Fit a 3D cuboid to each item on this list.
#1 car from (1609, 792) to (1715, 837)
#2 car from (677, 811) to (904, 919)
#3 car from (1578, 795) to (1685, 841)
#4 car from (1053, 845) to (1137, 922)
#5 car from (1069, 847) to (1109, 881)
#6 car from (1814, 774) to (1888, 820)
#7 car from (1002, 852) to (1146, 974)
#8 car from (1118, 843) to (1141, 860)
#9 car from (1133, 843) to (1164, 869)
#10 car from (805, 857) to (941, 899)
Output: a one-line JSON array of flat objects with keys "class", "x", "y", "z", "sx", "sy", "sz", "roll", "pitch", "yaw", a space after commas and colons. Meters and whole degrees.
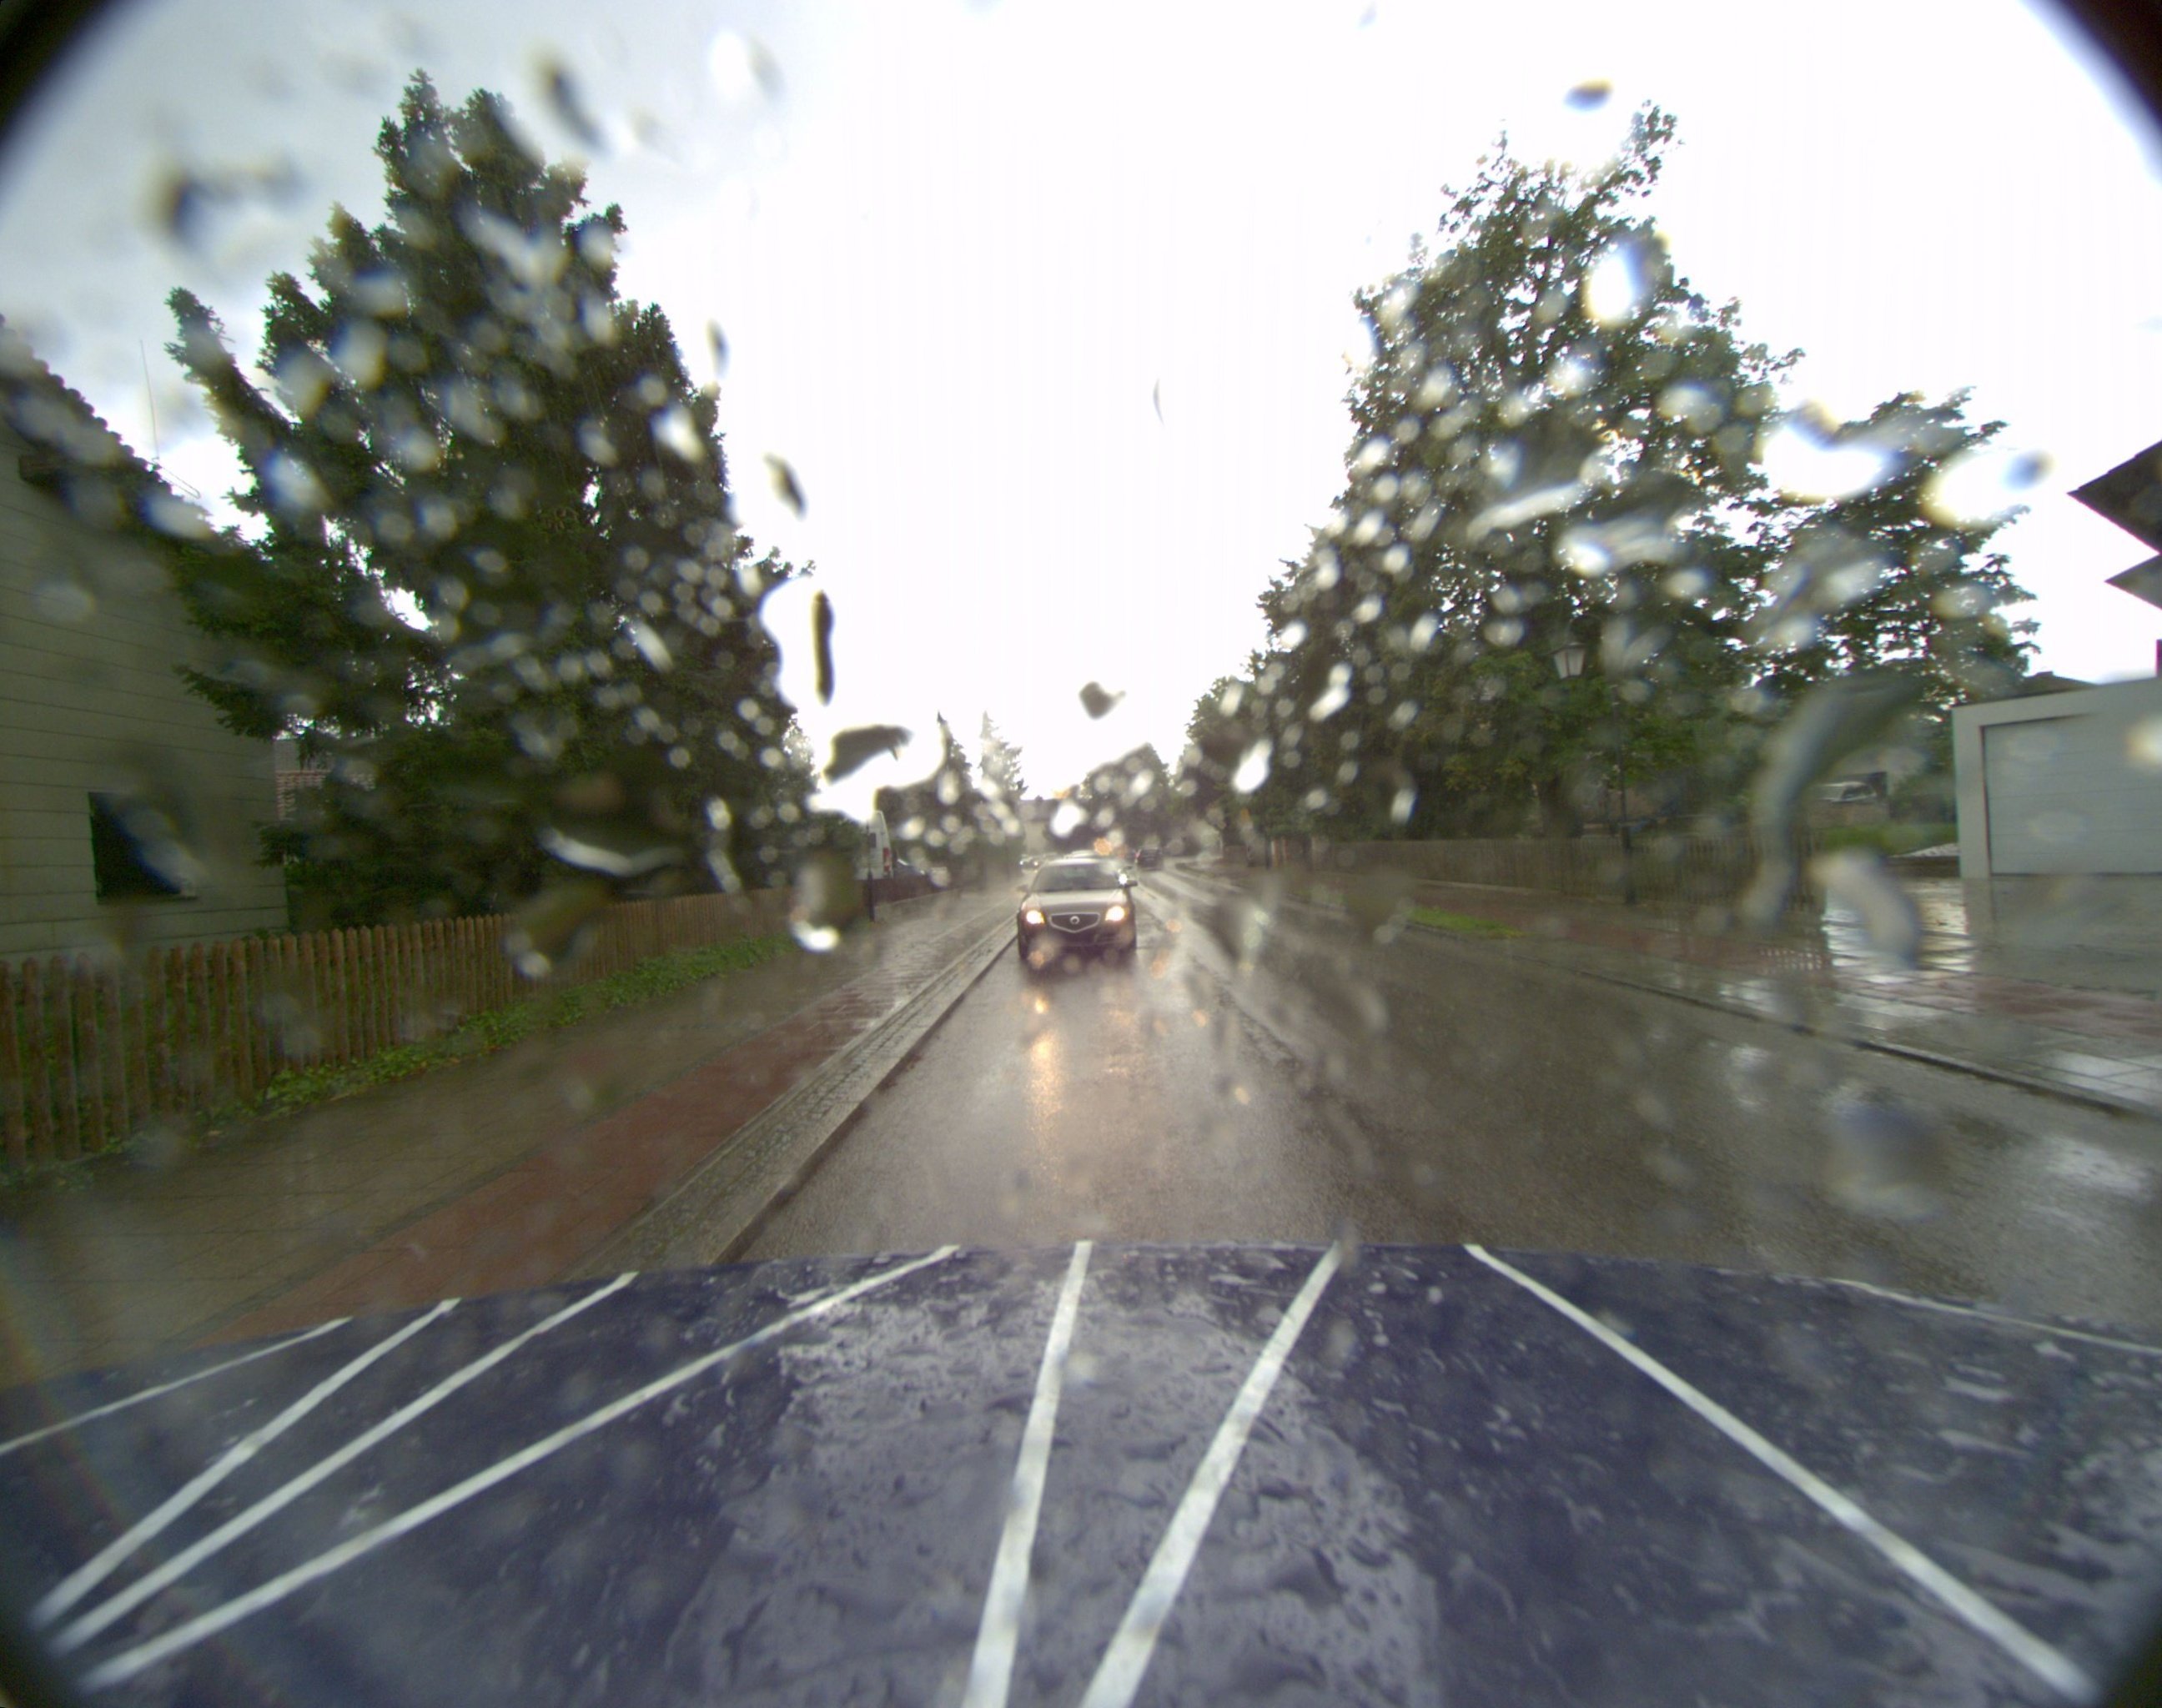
[{"class": "car", "x": 28.716, "y": -1.935, "z": 37.616, "sx": 1.845, "sy": 1.792, "sz": 3.649, "roll": -6, "pitch": 0, "yaw": -33}, {"class": "car", "x": -7.552, "y": 0.252, "z": 20.322, "sx": 5.321, "sy": 2.712, "sz": 1.998, "roll": 0, "pitch": 1, "yaw": -8}, {"class": "car", "x": 26.373, "y": -1.702, "z": 36.499, "sx": 1.845, "sy": 1.792, "sz": 3.649, "roll": -6, "pitch": 0, "yaw": -33}, {"class": "car", "x": 0.374, "y": 0.676, "z": 20.564, "sx": 1.872, "sy": 1.603, "sz": 4.960, "roll": -5, "pitch": 1, "yaw": 1}, {"class": "car", "x": 0.434, "y": 0.478, "z": 39.785, "sx": 1.872, "sy": 1.512, "sz": 4.960, "roll": -5, "pitch": 1, "yaw": 1}, {"class": "car", "x": 40.848, "y": -3.009, "z": 40.290, "sx": 3.857, "sy": 2.281, "sz": 1.782, "roll": -3, "pitch": 1, "yaw": -29}, {"class": "car", "x": -0.063, "y": 0.791, "z": 12.313, "sx": 1.872, "sy": 1.512, "sz": 4.188, "roll": -3, "pitch": 1, "yaw": 1}, {"class": "car", "x": 4.450, "y": -0.254, "z": 70.604, "sx": 1.785, "sy": 1.457, "sz": 4.374, "roll": -4, "pitch": 1, "yaw": 0}, {"class": "car", "x": 4.413, "y": 0.131, "z": 49.871, "sx": 1.642, "sy": 1.512, "sz": 4.188, "roll": -4, "pitch": 0, "yaw": 1}, {"class": "car", "x": -7.283, "y": 0.815, "z": 27.014, "sx": 4.443, "sy": 1.413, "sz": 1.829, "roll": 0, "pitch": 1, "yaw": -7}]
